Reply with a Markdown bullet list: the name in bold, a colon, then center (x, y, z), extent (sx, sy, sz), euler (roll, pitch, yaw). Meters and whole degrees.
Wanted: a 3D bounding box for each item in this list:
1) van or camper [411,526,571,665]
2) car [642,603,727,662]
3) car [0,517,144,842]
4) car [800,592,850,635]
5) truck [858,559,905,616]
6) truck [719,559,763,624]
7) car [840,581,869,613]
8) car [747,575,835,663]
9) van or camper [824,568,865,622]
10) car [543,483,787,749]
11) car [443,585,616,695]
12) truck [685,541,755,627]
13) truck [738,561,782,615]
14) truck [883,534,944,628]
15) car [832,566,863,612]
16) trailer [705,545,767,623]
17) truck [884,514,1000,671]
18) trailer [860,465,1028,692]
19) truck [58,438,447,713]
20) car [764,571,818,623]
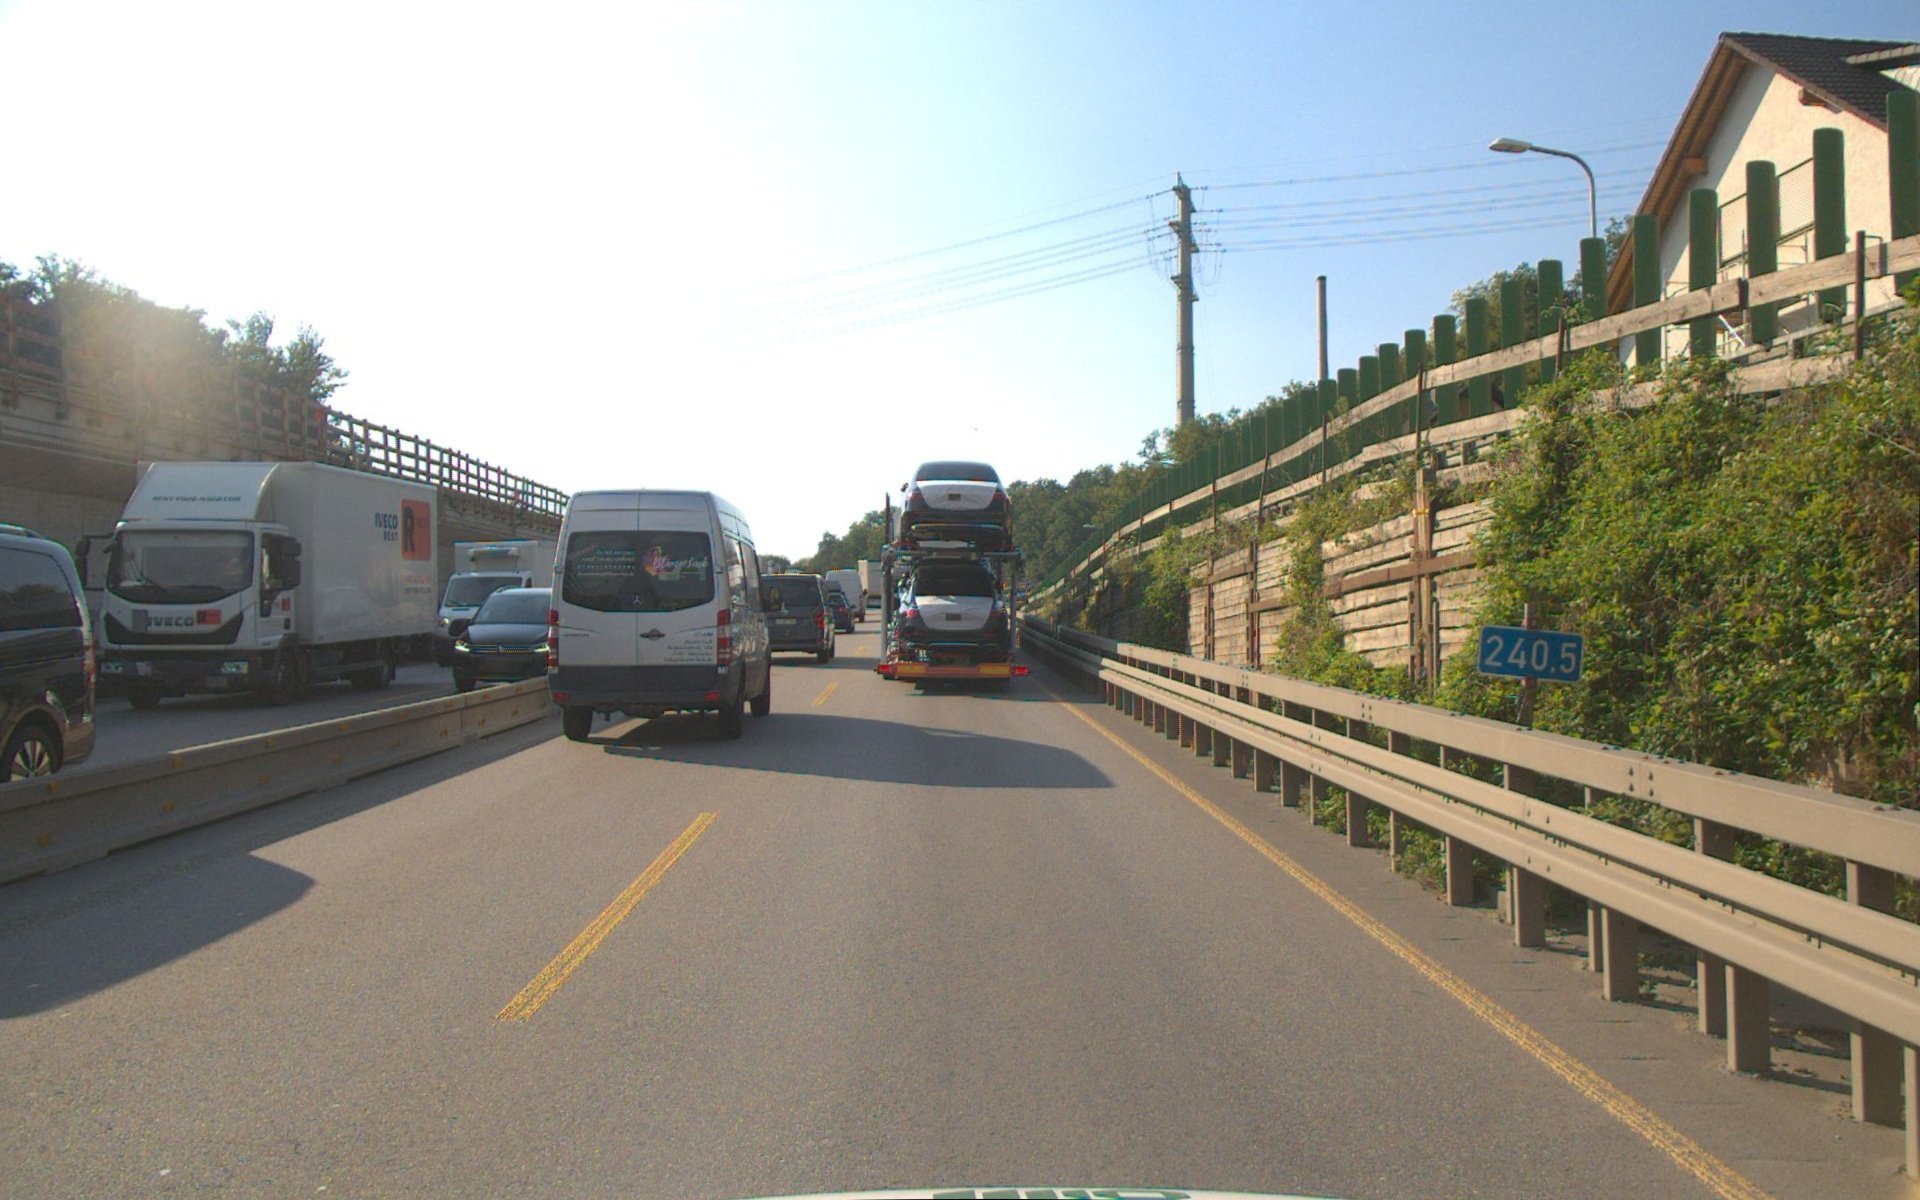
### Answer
- **van or camper**: center (-11.116, -0.059, 39.758), extent (2.273, 3.041, 6.220), euler (-1, -1, -2)
- **car**: center (-7.592, 0.863, 45.896), extent (1.728, 1.475, 4.457), euler (1, 0, -2)
- **car**: center (-6.708, 0.449, 9.007), extent (1.945, 1.956, 5.289), euler (2, 0, -1)
- **car**: center (-5.119, 0.493, 63.059), extent (1.691, 1.549, 3.971), euler (1, 0, -2)
- **truck**: center (-6.886, -1.027, 145.104), extent (3.984, 4.761, 10.585), euler (0, 0, -3)
- **truck**: center (-14.484, -0.537, 109.707), extent (2.657, 4.164, 6.196), euler (1, 0, -5)
- **car**: center (-7.188, -0.216, 113.067), extent (1.847, 2.137, 3.764), euler (1, 0, -1)
- **car**: center (-3.904, 0.463, 38.698), extent (1.772, 1.937, 3.998), euler (1, -1, -2)
- **van or camper**: center (-5.898, -0.233, 85.146), extent (1.929, 2.637, 5.039), euler (1, -1, -2)
- **car**: center (-3.280, 0.153, 19.535), extent (1.953, 2.694, 5.529), euler (0, 0, -1)
- **car**: center (-7.213, 0.663, 28.203), extent (1.795, 1.674, 4.687), euler (1, -1, -1)
- **truck**: center (-12.502, -0.797, 86.812), extent (2.572, 4.184, 9.622), euler (-2, 0, -3)
- **truck**: center (-16.647, -0.911, 138.654), extent (2.924, 4.226, 15.840), euler (1, 0, -4)
- **truck**: center (-2.486, -0.936, 85.940), extent (2.850, 4.687, 7.280), euler (0, 0, -4)
- **car**: center (-13.012, -1.254, 190.193), extent (3.377, 5.123, 9.644), euler (1, 0, -4)
- **trailer**: center (-12.951, -0.913, 96.470), extent (2.554, 4.184, 9.622), euler (-3, 1, -3)
- **truck**: center (-0.459, -0.129, 41.793), extent (2.628, 3.597, 7.192), euler (1, -1, -1)
- **trailer**: center (-0.339, -0.245, 34.227), extent (2.628, 3.597, 15.285), euler (1, -1, -1)
- **truck**: center (-10.475, -0.267, 25.622), extent (2.660, 3.484, 8.137), euler (-2, -1, -2)
- **car**: center (-8.583, -0.114, 84.513), extent (2.421, 2.578, 3.999), euler (0, -1, -2)
